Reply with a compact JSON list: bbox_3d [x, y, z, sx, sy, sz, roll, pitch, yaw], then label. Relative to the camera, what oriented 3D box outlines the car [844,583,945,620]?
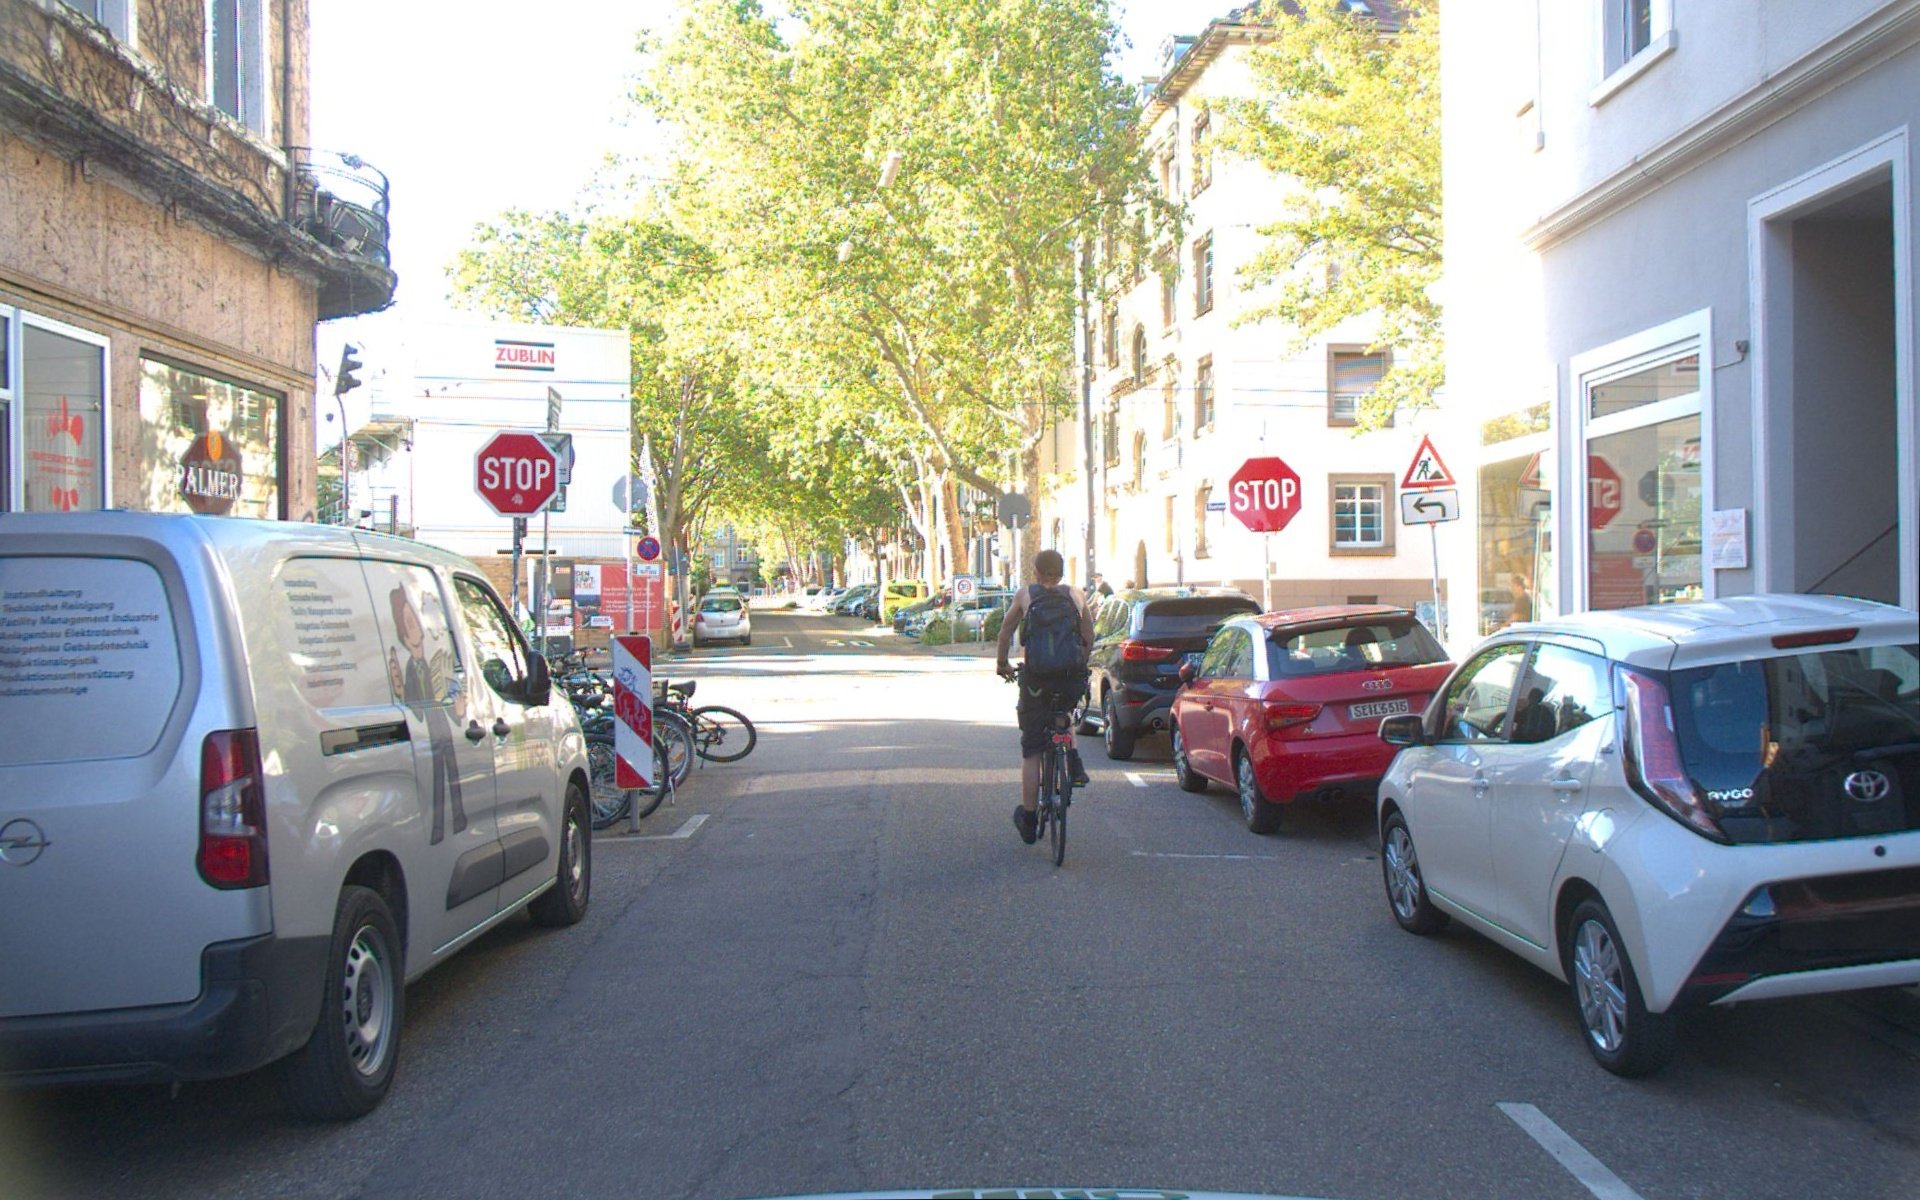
[{"bbox_3d":[-2.951,0.051,74.353,4.379,1.598,1.725,-1,0,-9],"label":"car"}]

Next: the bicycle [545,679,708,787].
[{"bbox_3d":[-2.948,1.170,14.662,1.362,0.832,0.361,-3,1,-11],"label":"bicycle"}]

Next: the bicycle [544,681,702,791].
[{"bbox_3d":[-2.902,1.164,14.283,1.285,0.832,0.380,-3,1,-11],"label":"bicycle"}]

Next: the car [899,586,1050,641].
[{"bbox_3d":[0.422,0.387,50.707,4.379,1.598,1.725,-1,0,-9],"label":"car"}]

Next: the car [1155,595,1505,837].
[{"bbox_3d":[2.619,0.748,12.628,1.612,1.529,3.953,1,0,-3],"label":"car"}]

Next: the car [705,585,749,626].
[{"bbox_3d":[-9.352,0.187,66.352,1.635,1.590,3.991,-1,1,-10],"label":"car"}]

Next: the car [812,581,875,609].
[{"bbox_3d":[-8.372,-0.367,119.022,4.379,1.931,1.725,-1,0,-9],"label":"car"}]

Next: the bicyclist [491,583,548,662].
[{"bbox_3d":[-9.532,0.481,35.803,1.076,1.668,0.894,-1,-1,-8],"label":"bicyclist"}]

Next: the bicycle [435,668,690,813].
[{"bbox_3d":[-2.853,1.004,11.948,1.729,0.978,0.405,-1,0,-3],"label":"bicycle"}]

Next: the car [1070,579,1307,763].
[{"bbox_3d":[2.276,0.653,17.508,1.725,1.691,4.195,1,0,-3],"label":"car"}]

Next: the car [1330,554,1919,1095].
[{"bbox_3d":[2.849,0.673,6.873,1.604,1.614,3.786,1,0,-3],"label":"car"}]

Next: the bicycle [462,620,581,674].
[{"bbox_3d":[-9.471,1.011,35.803,2.377,1.112,0.894,-1,-1,-8],"label":"bicycle"}]

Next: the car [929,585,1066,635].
[{"bbox_3d":[1.239,0.304,55.695,4.379,1.598,1.725,-1,0,-9],"label":"car"}]

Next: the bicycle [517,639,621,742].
[{"bbox_3d":[-4.581,1.033,19.309,0.454,1.064,1.663,-1,3,-41],"label":"bicycle"}]

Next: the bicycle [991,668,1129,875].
[{"bbox_3d":[0.567,0.978,10.005,0.675,1.034,1.907,1,0,-1],"label":"bicycle"}]

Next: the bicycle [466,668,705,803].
[{"bbox_3d":[-2.877,1.037,12.788,1.729,0.978,0.443,-1,0,-3],"label":"bicycle"}]

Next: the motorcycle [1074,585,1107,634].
[{"bbox_3d":[3.701,0.257,46.995,0.504,1.356,1.759,-1,1,-10],"label":"motorcycle"}]

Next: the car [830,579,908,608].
[{"bbox_3d":[-5.304,-0.387,96.370,4.379,1.598,1.725,-1,0,-9],"label":"car"}]

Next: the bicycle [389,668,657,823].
[{"bbox_3d":[-3.015,0.998,11.501,1.729,1.006,0.463,-1,0,-2],"label":"bicycle"}]

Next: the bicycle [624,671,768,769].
[{"bbox_3d":[-2.414,1.094,15.140,1.285,0.832,0.354,-1,0,-11],"label":"bicycle"}]

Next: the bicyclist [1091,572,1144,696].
[{"bbox_3d":[2.213,0.471,23.212,0.531,1.717,0.652,0,-1,27],"label":"bicyclist"}]

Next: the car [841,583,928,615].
[{"bbox_3d":[-3.974,-0.045,86.919,4.379,1.598,1.725,-1,0,-9],"label":"car"}]

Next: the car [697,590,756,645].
[{"bbox_3d":[-7.144,0.491,50.378,1.614,1.520,3.991,-3,1,-10],"label":"car"}]

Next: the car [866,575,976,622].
[{"bbox_3d":[-1.630,-0.088,68.537,4.380,1.868,1.724,-1,0,-10],"label":"car"}]

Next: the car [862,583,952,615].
[{"bbox_3d":[-2.698,-0.060,83.874,4.379,1.598,1.725,-1,0,-9],"label":"car"}]

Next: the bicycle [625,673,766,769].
[{"bbox_3d":[-2.478,1.129,15.509,1.285,0.832,0.370,-1,0,-11],"label":"bicycle"}]

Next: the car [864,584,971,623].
[{"bbox_3d":[-1.810,0.133,70.545,4.379,1.598,1.725,-1,0,-9],"label":"car"}]

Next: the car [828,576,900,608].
[{"bbox_3d":[-6.032,-0.517,103.649,4.379,1.931,1.725,-1,0,-9],"label":"car"}]

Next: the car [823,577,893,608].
[{"bbox_3d":[-6.580,-0.472,106.361,4.379,1.931,1.725,-1,0,-9],"label":"car"}]

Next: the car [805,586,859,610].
[{"bbox_3d":[-10.734,-0.188,138.122,4.379,1.931,1.725,-1,0,-9],"label":"car"}]

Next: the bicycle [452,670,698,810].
[{"bbox_3d":[-2.859,1.033,12.356,1.729,0.978,0.422,-1,0,-3],"label":"bicycle"}]

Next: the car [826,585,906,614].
[{"bbox_3d":[-5.358,-0.049,94.023,4.379,1.598,1.725,-1,0,-9],"label":"car"}]

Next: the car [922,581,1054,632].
[{"bbox_3d":[0.948,0.226,57.758,4.379,1.700,1.725,-1,0,-9],"label":"car"}]

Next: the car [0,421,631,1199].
[{"bbox_3d":[-2.564,0.566,6.357,1.645,1.943,4.518,-4,0,-1],"label":"car"}]

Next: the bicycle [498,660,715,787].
[{"bbox_3d":[-2.934,1.018,13.831,1.732,0.978,0.427,-1,0,-9],"label":"bicycle"}]

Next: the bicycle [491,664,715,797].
[{"bbox_3d":[-2.882,1.043,13.400,1.734,0.978,0.480,-1,0,-14],"label":"bicycle"}]

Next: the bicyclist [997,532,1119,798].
[{"bbox_3d":[0.577,0.380,9.963,0.662,1.539,0.668,1,0,-1],"label":"bicyclist"}]
